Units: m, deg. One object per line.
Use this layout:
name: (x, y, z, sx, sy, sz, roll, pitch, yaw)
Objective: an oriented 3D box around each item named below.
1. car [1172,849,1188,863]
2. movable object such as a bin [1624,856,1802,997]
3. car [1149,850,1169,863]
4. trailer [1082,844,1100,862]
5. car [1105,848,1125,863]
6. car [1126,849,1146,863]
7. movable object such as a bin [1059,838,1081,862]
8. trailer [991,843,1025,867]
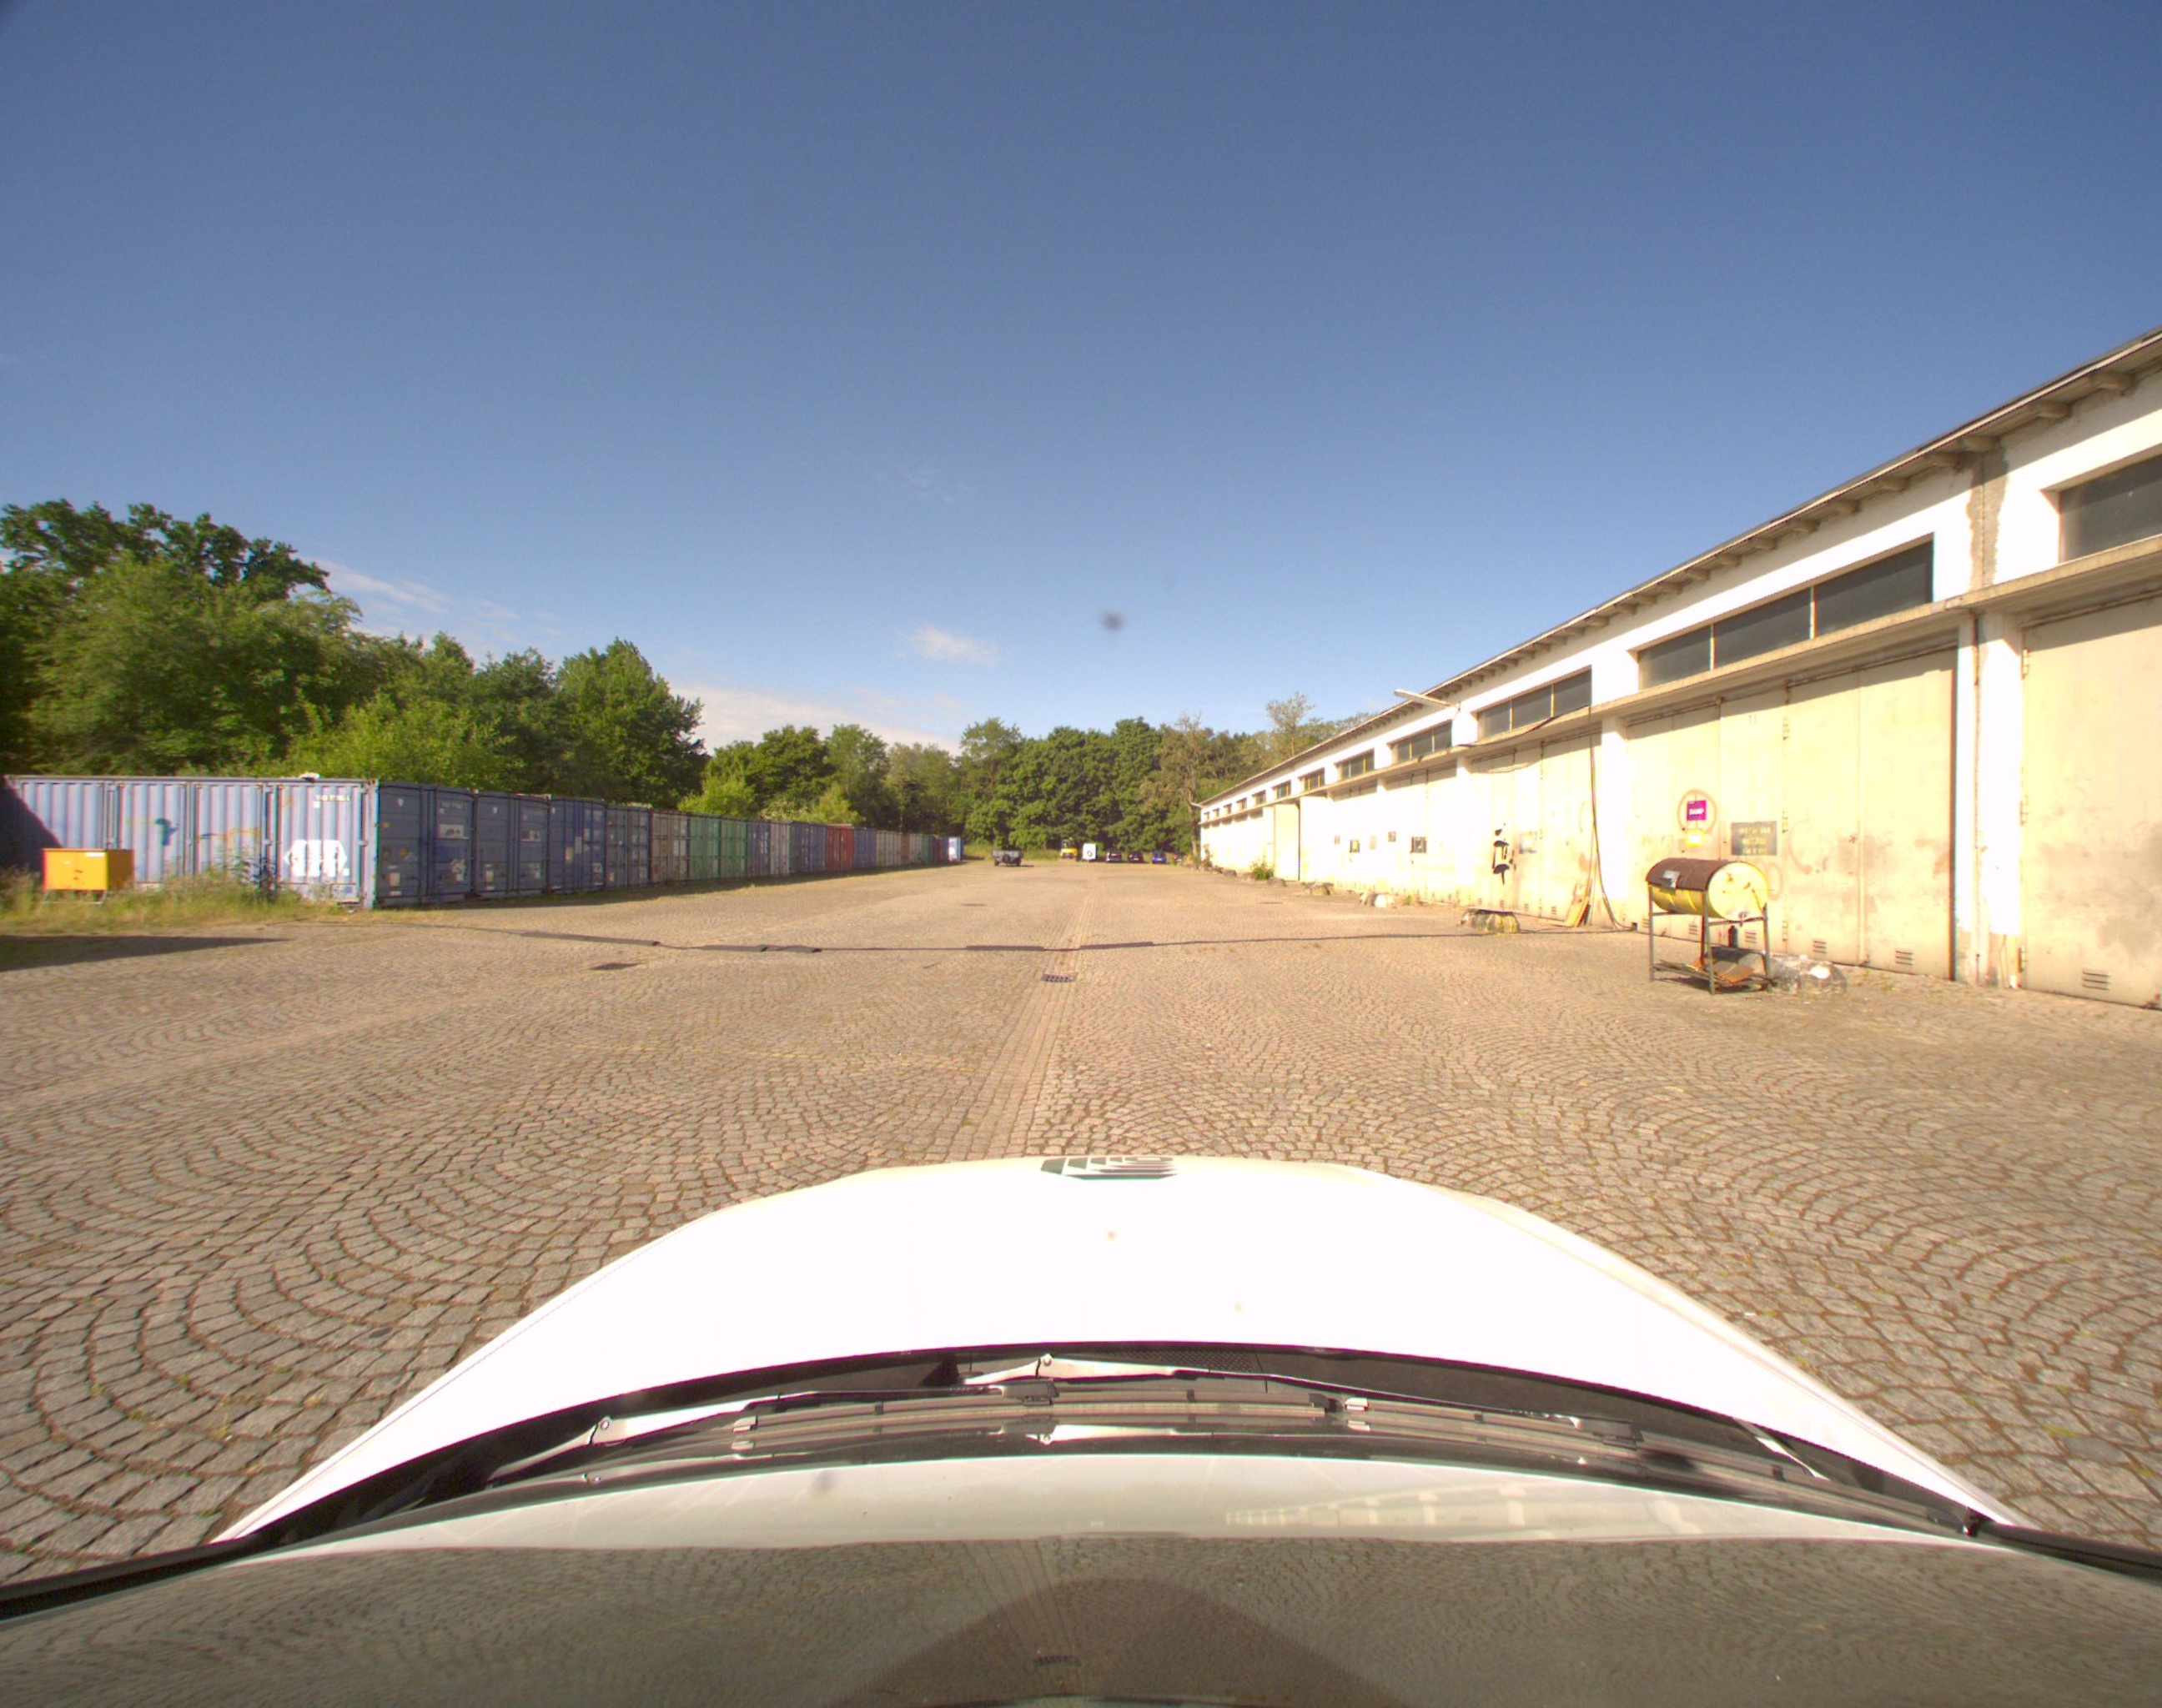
car: (11.334, 0.180, 93.184, 1.675, 1.563, 4.010, 0, 0, 8)
movable object such as a bin: (6.446, 0.688, 8.394, 0.821, 1.331, 1.279, 0, 0, -3)
car: (8.854, 0.259, 91.989, 1.982, 1.420, 4.010, 0, 0, 8)
trailer: (1.162, -0.103, 93.614, 1.785, 2.090, 3.978, 0, 0, 6)
car: (3.826, 0.176, 91.874, 1.851, 1.585, 4.010, 0, 0, 8)
car: (6.231, 0.223, 92.030, 1.982, 1.462, 4.010, 0, 0, 8)
movable object such as a bin: (-1.218, -0.442, 93.929, 1.984, 2.618, 4.006, 2, 0, 6)
trailer: (-6.690, 0.087, 74.709, 2.397, 2.013, 4.177, 3, 0, 4)
